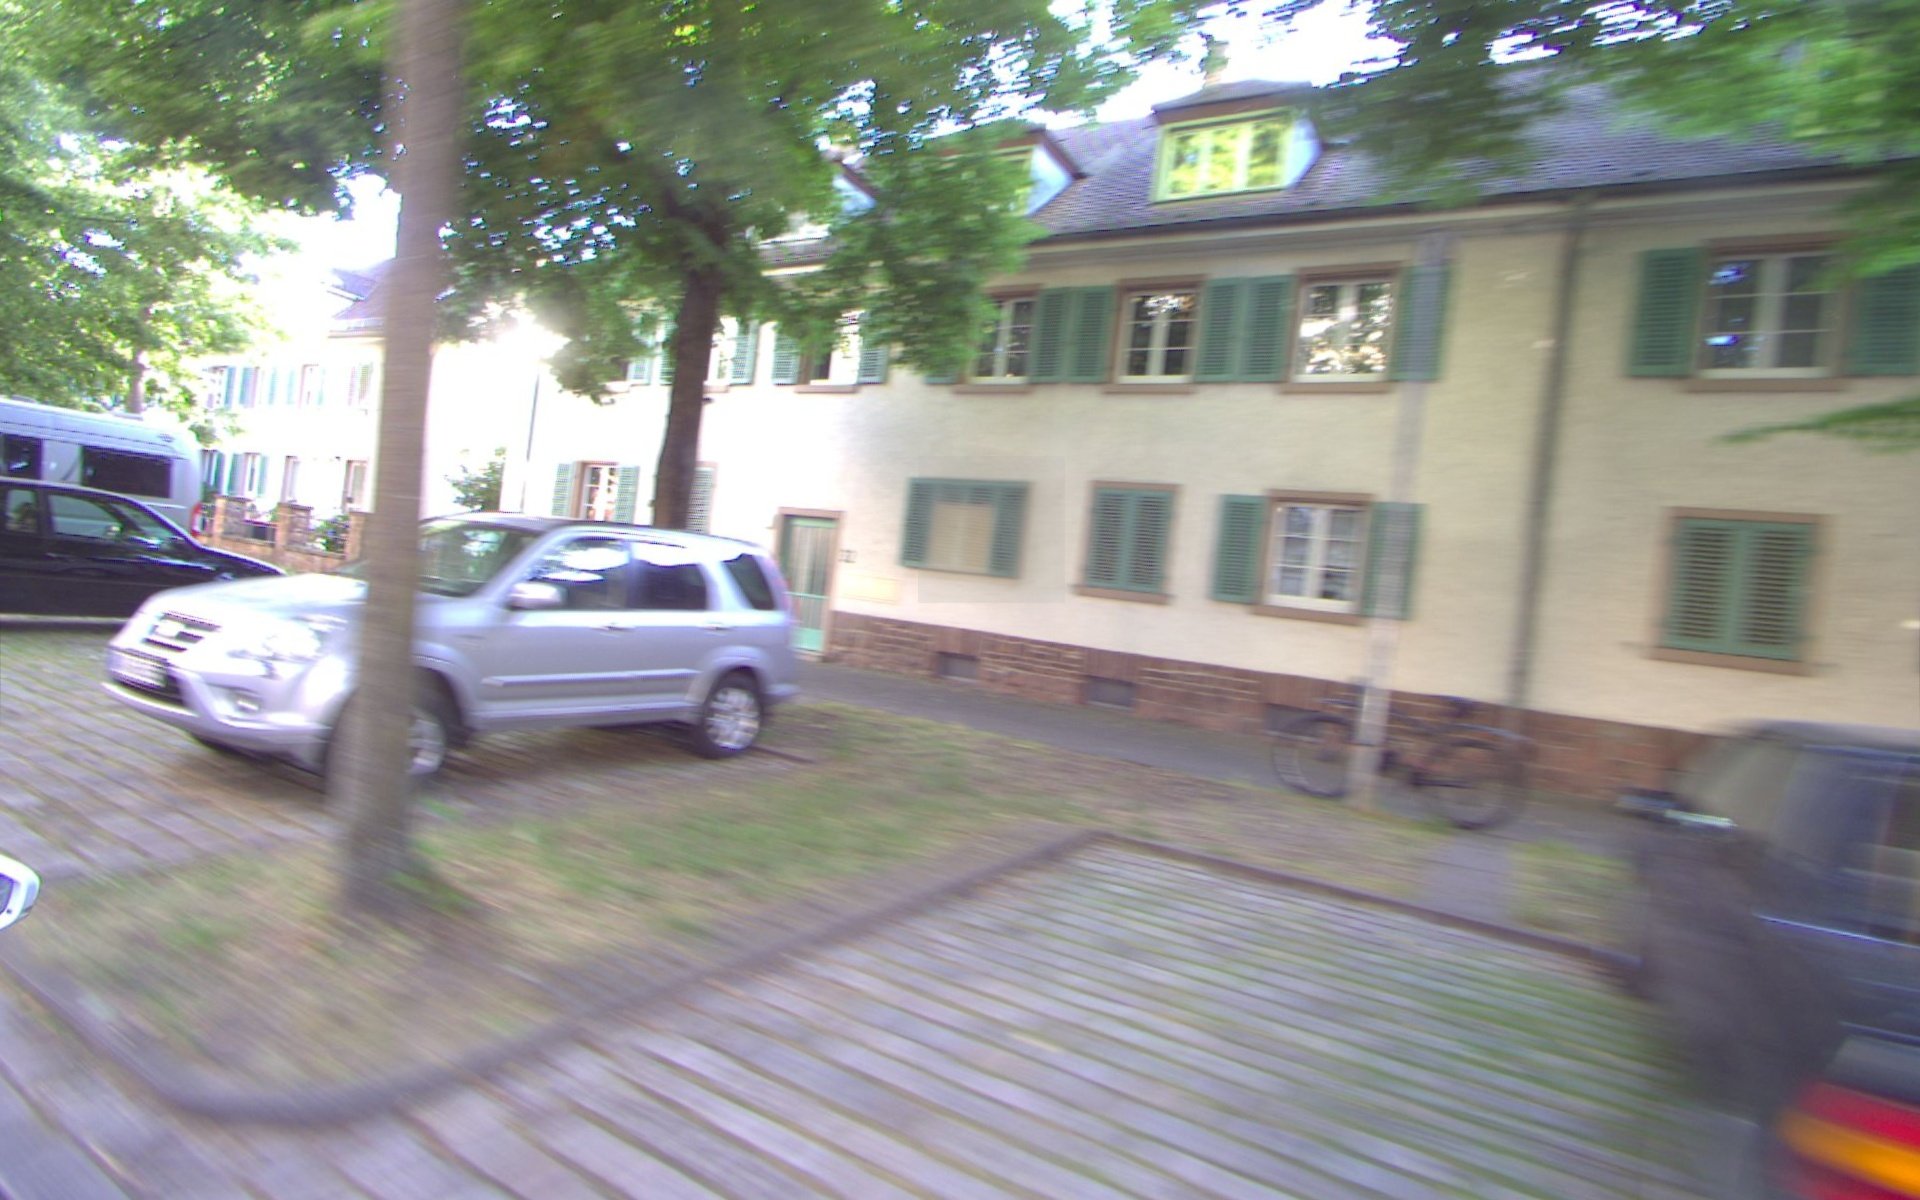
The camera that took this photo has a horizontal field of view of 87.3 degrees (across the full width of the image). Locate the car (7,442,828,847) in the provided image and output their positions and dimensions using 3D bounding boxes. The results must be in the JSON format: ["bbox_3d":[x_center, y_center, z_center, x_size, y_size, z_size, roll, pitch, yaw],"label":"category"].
[{"bbox_3d":[-3.079,0.196,6.802,1.909,1.692,4.479,8,2,29],"label":"car"}]

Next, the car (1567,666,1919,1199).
[{"bbox_3d":[3.189,1.087,3.106,1.909,1.460,4.899,6,1,29],"label":"car"}]

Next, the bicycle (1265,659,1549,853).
[{"bbox_3d":[3.556,1.200,8.143,1.899,1.177,0.630,8,0,23],"label":"bicycle"}]

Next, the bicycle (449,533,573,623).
[{"bbox_3d":[-8.418,-0.412,18.881,1.967,1.416,0.802,7,0,18],"label":"bicycle"}]

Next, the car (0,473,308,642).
[{"bbox_3d":[-9.093,-0.440,10.374,1.722,1.491,3.505,6,0,30],"label":"car"}]

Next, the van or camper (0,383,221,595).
[{"bbox_3d":[-13.288,-1.551,12.946,2.230,2.569,5.580,6,1,29],"label":"van or camper"}]
